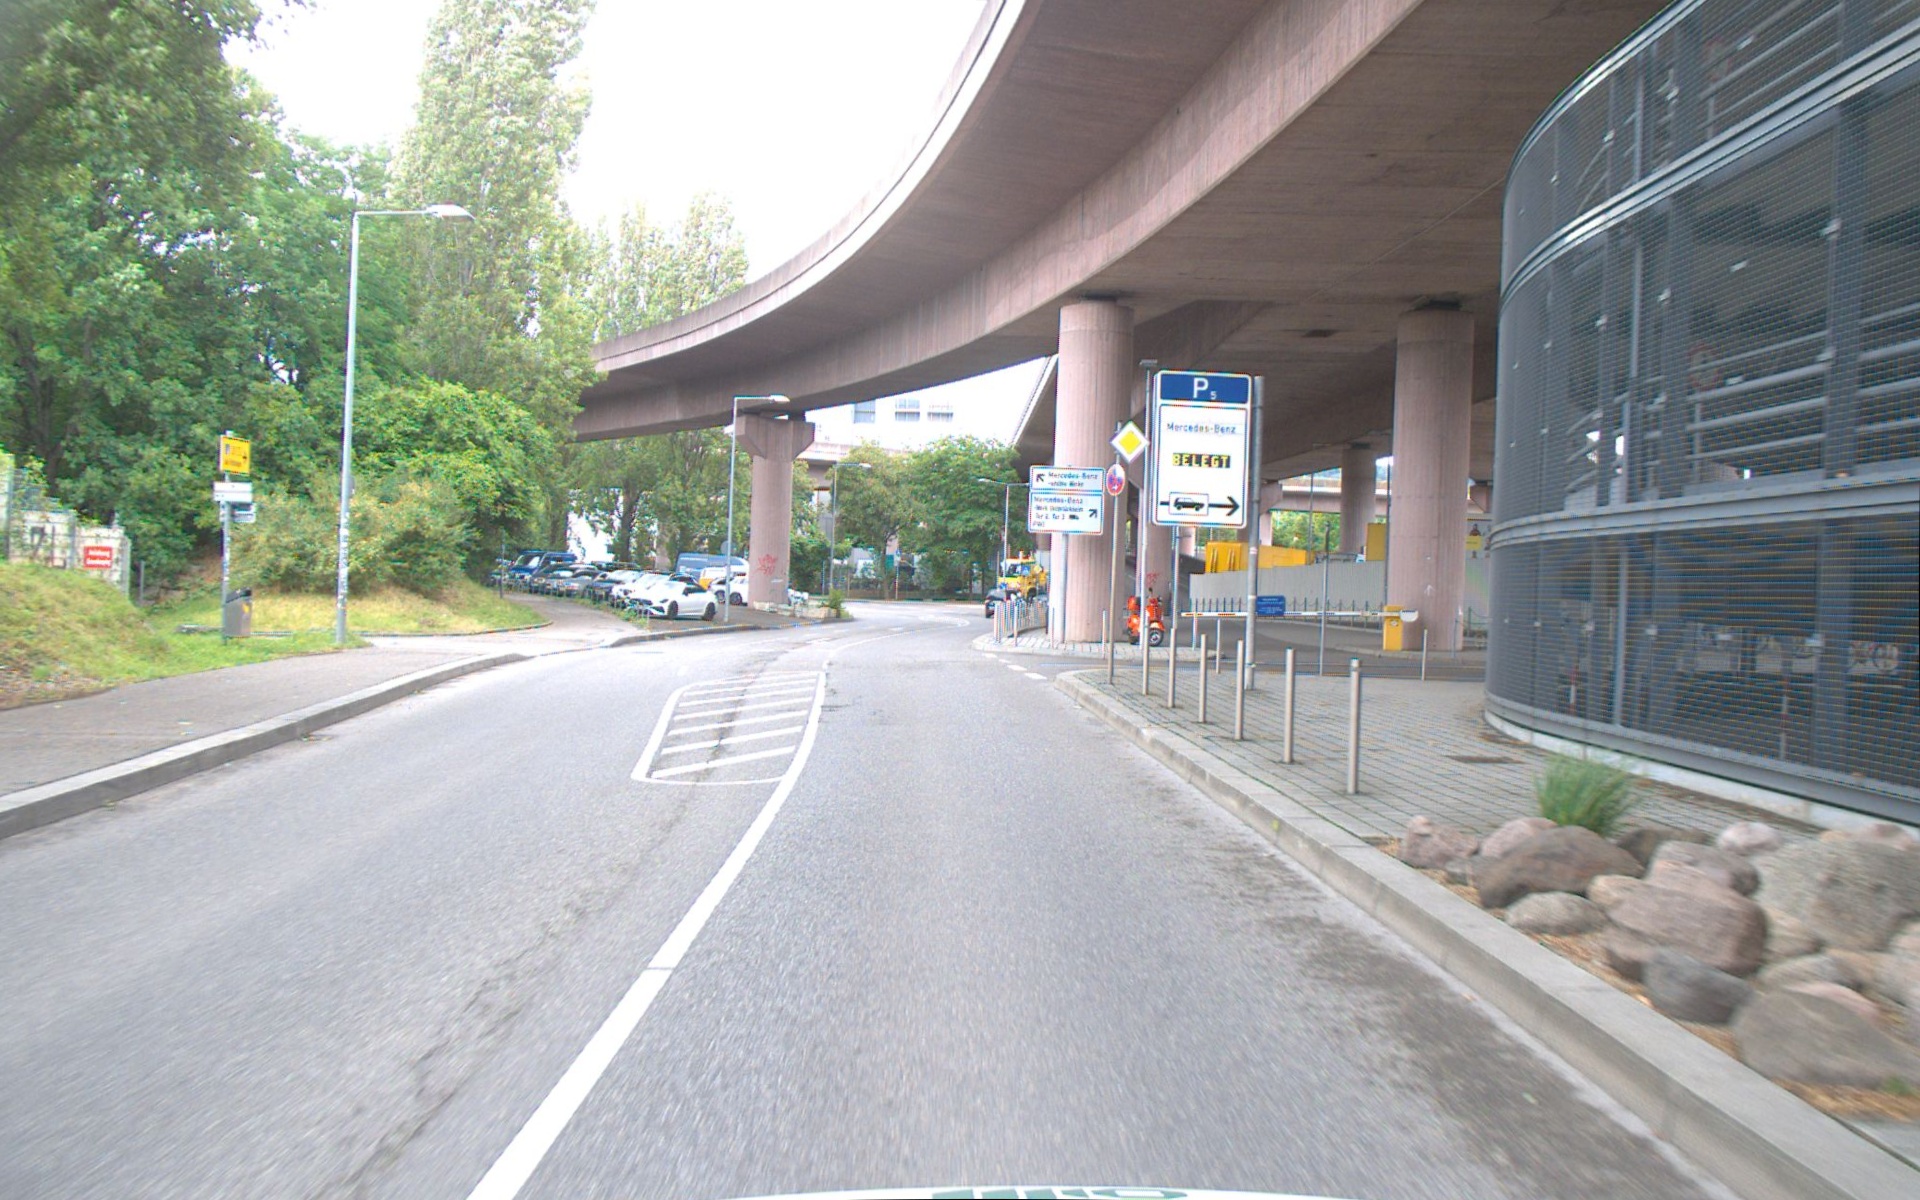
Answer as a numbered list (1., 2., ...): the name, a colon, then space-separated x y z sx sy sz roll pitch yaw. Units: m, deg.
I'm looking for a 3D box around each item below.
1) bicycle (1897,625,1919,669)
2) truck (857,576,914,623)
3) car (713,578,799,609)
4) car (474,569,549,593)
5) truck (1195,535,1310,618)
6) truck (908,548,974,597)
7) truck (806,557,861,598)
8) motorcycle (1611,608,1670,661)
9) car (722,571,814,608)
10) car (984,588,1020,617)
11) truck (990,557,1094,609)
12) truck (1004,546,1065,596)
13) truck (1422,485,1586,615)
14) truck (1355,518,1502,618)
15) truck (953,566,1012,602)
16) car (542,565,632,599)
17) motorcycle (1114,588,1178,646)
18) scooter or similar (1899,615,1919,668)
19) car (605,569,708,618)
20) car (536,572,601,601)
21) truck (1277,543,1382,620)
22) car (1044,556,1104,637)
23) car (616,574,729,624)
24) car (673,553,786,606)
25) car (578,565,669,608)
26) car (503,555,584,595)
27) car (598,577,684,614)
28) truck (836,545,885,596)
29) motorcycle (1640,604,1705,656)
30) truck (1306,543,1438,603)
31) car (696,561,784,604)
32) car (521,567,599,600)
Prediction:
1. bicycle: 23.552 1.150 39.536 2.013 1.041 0.396 2 1 5
2. truck: -6.587 -0.022 145.139 3.021 4.032 6.882 -1 0 -20
3. car: -11.024 -0.370 89.694 4.154 1.394 2.002 4 1 10
4. car: -27.295 -1.142 100.728 1.953 1.460 4.644 0 0 23
5. truck: 18.689 -1.470 105.353 3.092 5.003 8.666 2 0 41
6. truck: -1.661 -2.422 141.263 3.022 3.934 7.999 0 2 -21
7. truck: -12.433 -2.241 161.645 3.014 3.681 7.861 1 2 -23
8. motorcycle: 17.617 0.877 42.860 0.532 1.124 2.331 1 4 0
9. car: -10.035 -0.539 86.631 4.288 1.633 1.956 4 1 12
10. car: 2.516 0.132 100.532 1.953 1.708 4.559 2 0 -1
11. truck: 6.195 -1.345 124.172 8.180 3.540 2.891 -2 5 -43
12. truck: 6.750 -2.724 151.273 3.017 4.374 8.012 0 2 -17
13. truck: 22.653 -1.943 68.444 3.090 5.010 9.674 1 0 40
14. truck: 22.490 -1.443 78.956 3.089 4.521 9.674 0 0 40
15. truck: 1.915 -1.409 142.720 2.874 2.949 6.518 0 2 -21
16. car: -18.475 -0.881 82.214 1.820 1.513 4.887 4 2 23
17. motorcycle: 4.645 0.402 41.471 0.783 1.390 2.119 0 1 -17
18. scooter or similar: 24.239 1.070 40.901 1.650 1.239 0.541 5 5 41
19. car: -12.039 -0.250 65.970 1.954 1.610 4.400 6 0 20
20. car: -20.090 -0.683 85.028 1.609 1.466 3.737 1 0 17
21. truck: 25.296 -1.240 112.904 3.092 4.989 8.666 2 0 41
22. car: 3.974 -0.135 57.534 1.951 2.658 6.077 1 0 4
23. car: -10.729 0.004 62.114 1.953 1.505 4.829 6 -1 20
24. car: -13.205 -1.182 95.215 6.049 2.772 2.368 3 1 0
25. car: -14.724 -0.590 72.534 1.819 1.720 4.162 2 0 23
26. car: -24.104 -1.428 95.991 2.073 2.294 5.019 1 0 20
27. car: -13.364 -0.180 69.557 1.751 1.479 3.746 2 0 23
28. truck: -9.991 -2.967 165.378 3.151 4.862 8.014 0 2 -16
29. motorcycle: 18.711 0.769 43.467 0.560 1.124 2.330 1 4 -3
30. truck: 22.304 -1.456 89.219 3.092 2.995 8.664 -2 0 42
31. car: -12.278 -0.976 92.391 4.459 2.148 1.852 3 0 8
32. car: -21.379 -0.886 88.494 1.857 1.705 4.151 1 0 25
